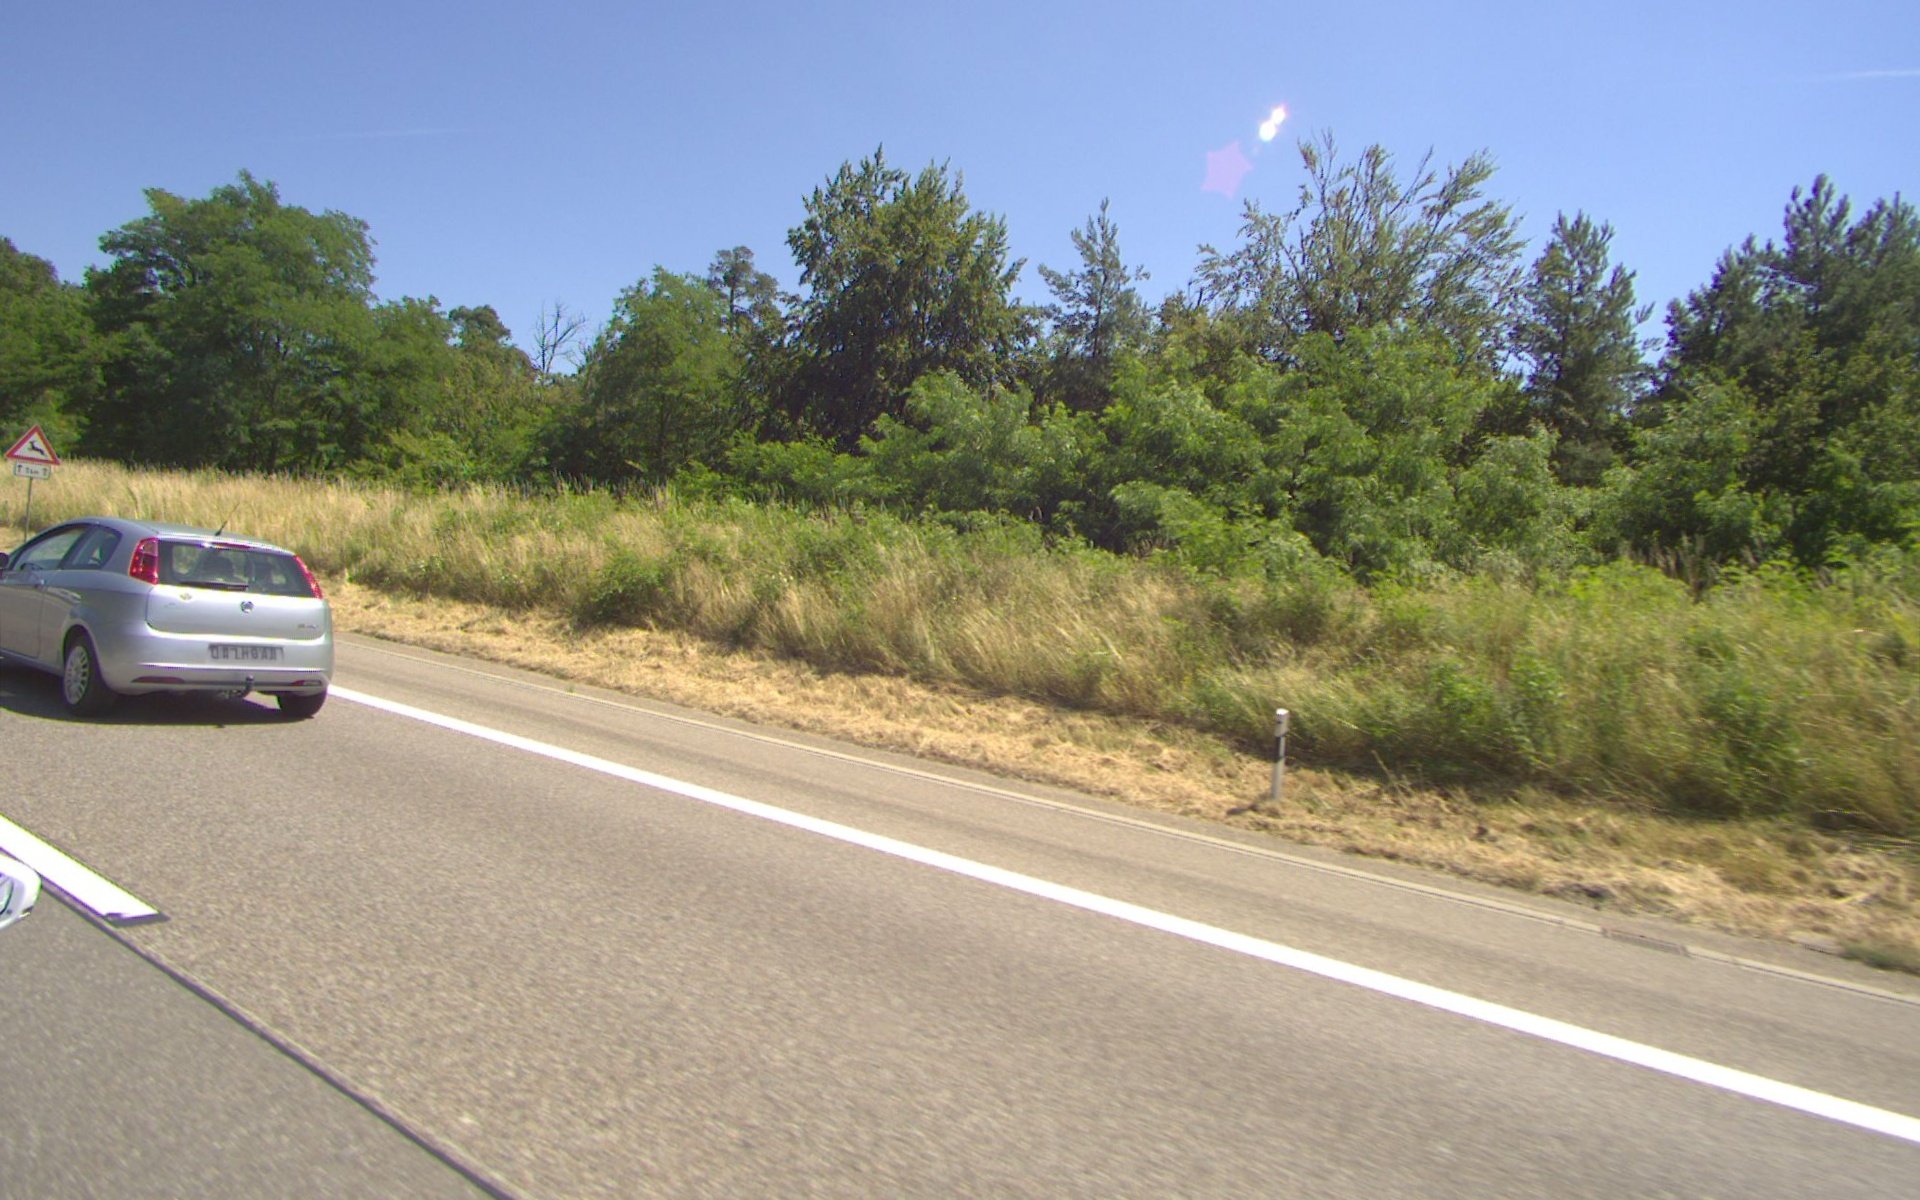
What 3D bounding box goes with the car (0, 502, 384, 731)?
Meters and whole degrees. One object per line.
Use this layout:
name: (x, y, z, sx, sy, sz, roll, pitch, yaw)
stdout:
car: (-6.990, 0.076, 8.696, 3.915, 1.483, 1.748, 6, -2, 32)
